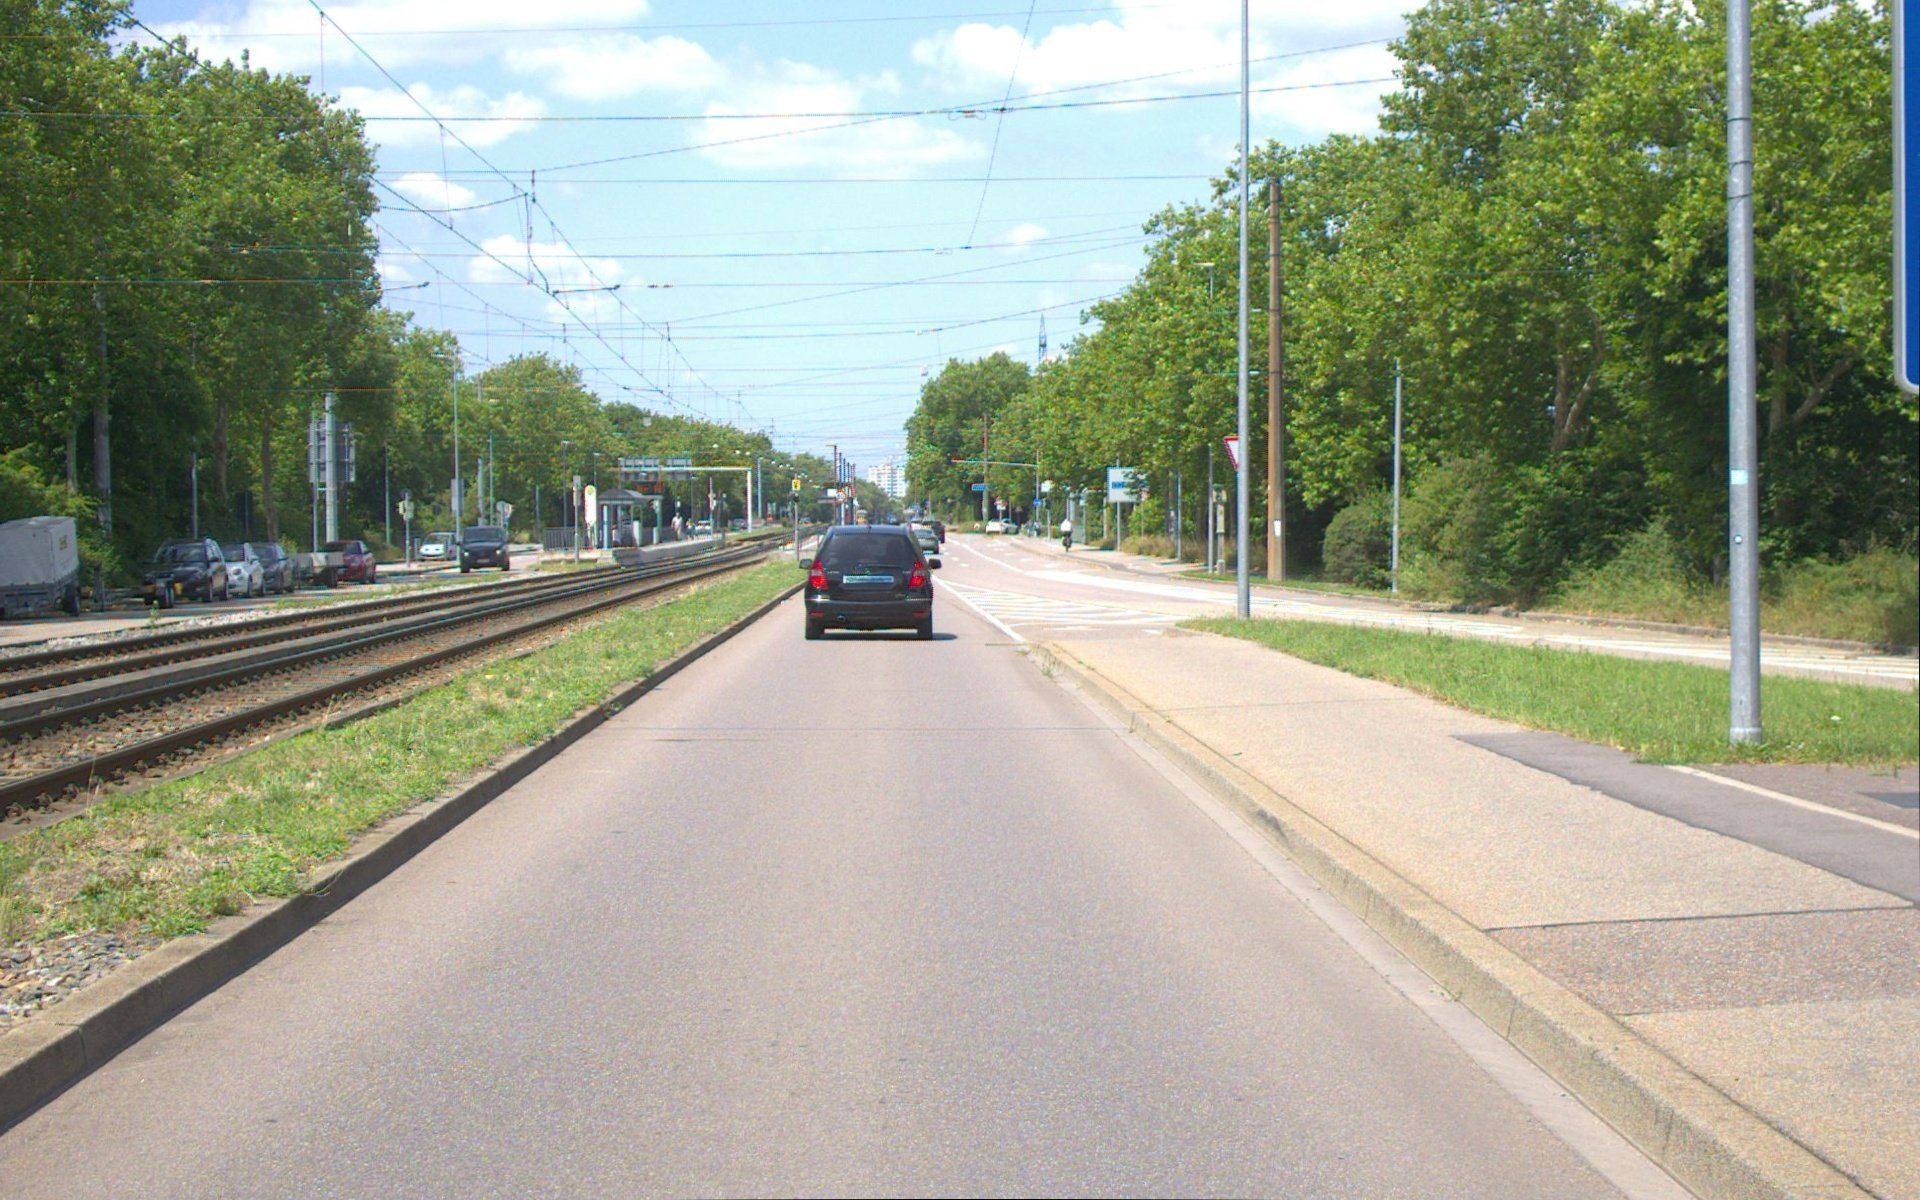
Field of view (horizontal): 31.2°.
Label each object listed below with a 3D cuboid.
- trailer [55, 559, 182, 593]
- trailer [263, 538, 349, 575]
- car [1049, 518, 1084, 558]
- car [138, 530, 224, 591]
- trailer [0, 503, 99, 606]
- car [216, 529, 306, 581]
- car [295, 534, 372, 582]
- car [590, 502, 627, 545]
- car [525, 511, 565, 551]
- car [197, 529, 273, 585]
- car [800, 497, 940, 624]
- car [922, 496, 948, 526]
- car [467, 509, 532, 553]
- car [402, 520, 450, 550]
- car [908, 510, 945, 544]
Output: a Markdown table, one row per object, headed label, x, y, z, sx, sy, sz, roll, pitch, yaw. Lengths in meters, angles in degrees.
| label | x | y | z | sx | sy | sz | roll | pitch | yaw |
| --- | --- | --- | --- | --- | --- | --- | --- | --- | --- |
| trailer | -18.968 | -0.536 | 77.674 | 1.993 | 0.740 | 4.000 | 0 | 0 | -2 |
| trailer | -20.204 | -1.356 | 106.359 | 1.892 | 1.040 | 5.104 | 1 | 2 | -3 |
| car | 5.614 | -3.271 | 181.789 | 1.612 | 2.006 | 3.440 | 1 | 3 | -2 |
| car | -19.335 | -0.996 | 85.463 | 1.433 | 1.446 | 3.922 | 0 | 1 | -3 |
| trailer | -18.845 | -0.961 | 70.509 | 1.609 | 2.006 | 3.917 | 1 | 2 | -4 |
| car | -19.757 | -1.293 | 97.317 | 1.870 | 1.396 | 4.419 | 0 | 1 | -3 |
| car | -21.011 | -1.431 | 115.438 | 1.993 | 1.568 | 4.001 | 0 | 1 | -2 |
| car | -17.450 | -3.802 | 170.632 | 1.585 | 2.006 | 4.111 | 1 | 3 | -3 |
| car | -22.197 | -3.710 | 183.930 | 1.993 | 2.006 | 4.001 | 1 | 2 | -6 |
| car | -19.311 | -1.151 | 91.682 | 1.433 | 1.446 | 3.742 | 0 | 1 | -3 |
| car | -1.220 | -0.595 | 48.215 | 1.853 | 1.564 | 4.389 | 1 | 3 | 0 |
| car | -1.771 | -6.291 | 242.484 | 1.786 | 2.006 | 4.001 | 1 | 3 | -1 |
| car | -18.987 | -2.857 | 141.949 | 2.117 | 1.784 | 5.406 | 0 | 1 | -2 |
| car | -29.074 | -3.551 | 187.274 | 1.993 | 1.568 | 4.000 | 0 | 1 | -1 |
| car | -1.778 | -3.928 | 183.798 | 1.885 | 1.634 | 4.001 | 3 | 2 | 0 |
